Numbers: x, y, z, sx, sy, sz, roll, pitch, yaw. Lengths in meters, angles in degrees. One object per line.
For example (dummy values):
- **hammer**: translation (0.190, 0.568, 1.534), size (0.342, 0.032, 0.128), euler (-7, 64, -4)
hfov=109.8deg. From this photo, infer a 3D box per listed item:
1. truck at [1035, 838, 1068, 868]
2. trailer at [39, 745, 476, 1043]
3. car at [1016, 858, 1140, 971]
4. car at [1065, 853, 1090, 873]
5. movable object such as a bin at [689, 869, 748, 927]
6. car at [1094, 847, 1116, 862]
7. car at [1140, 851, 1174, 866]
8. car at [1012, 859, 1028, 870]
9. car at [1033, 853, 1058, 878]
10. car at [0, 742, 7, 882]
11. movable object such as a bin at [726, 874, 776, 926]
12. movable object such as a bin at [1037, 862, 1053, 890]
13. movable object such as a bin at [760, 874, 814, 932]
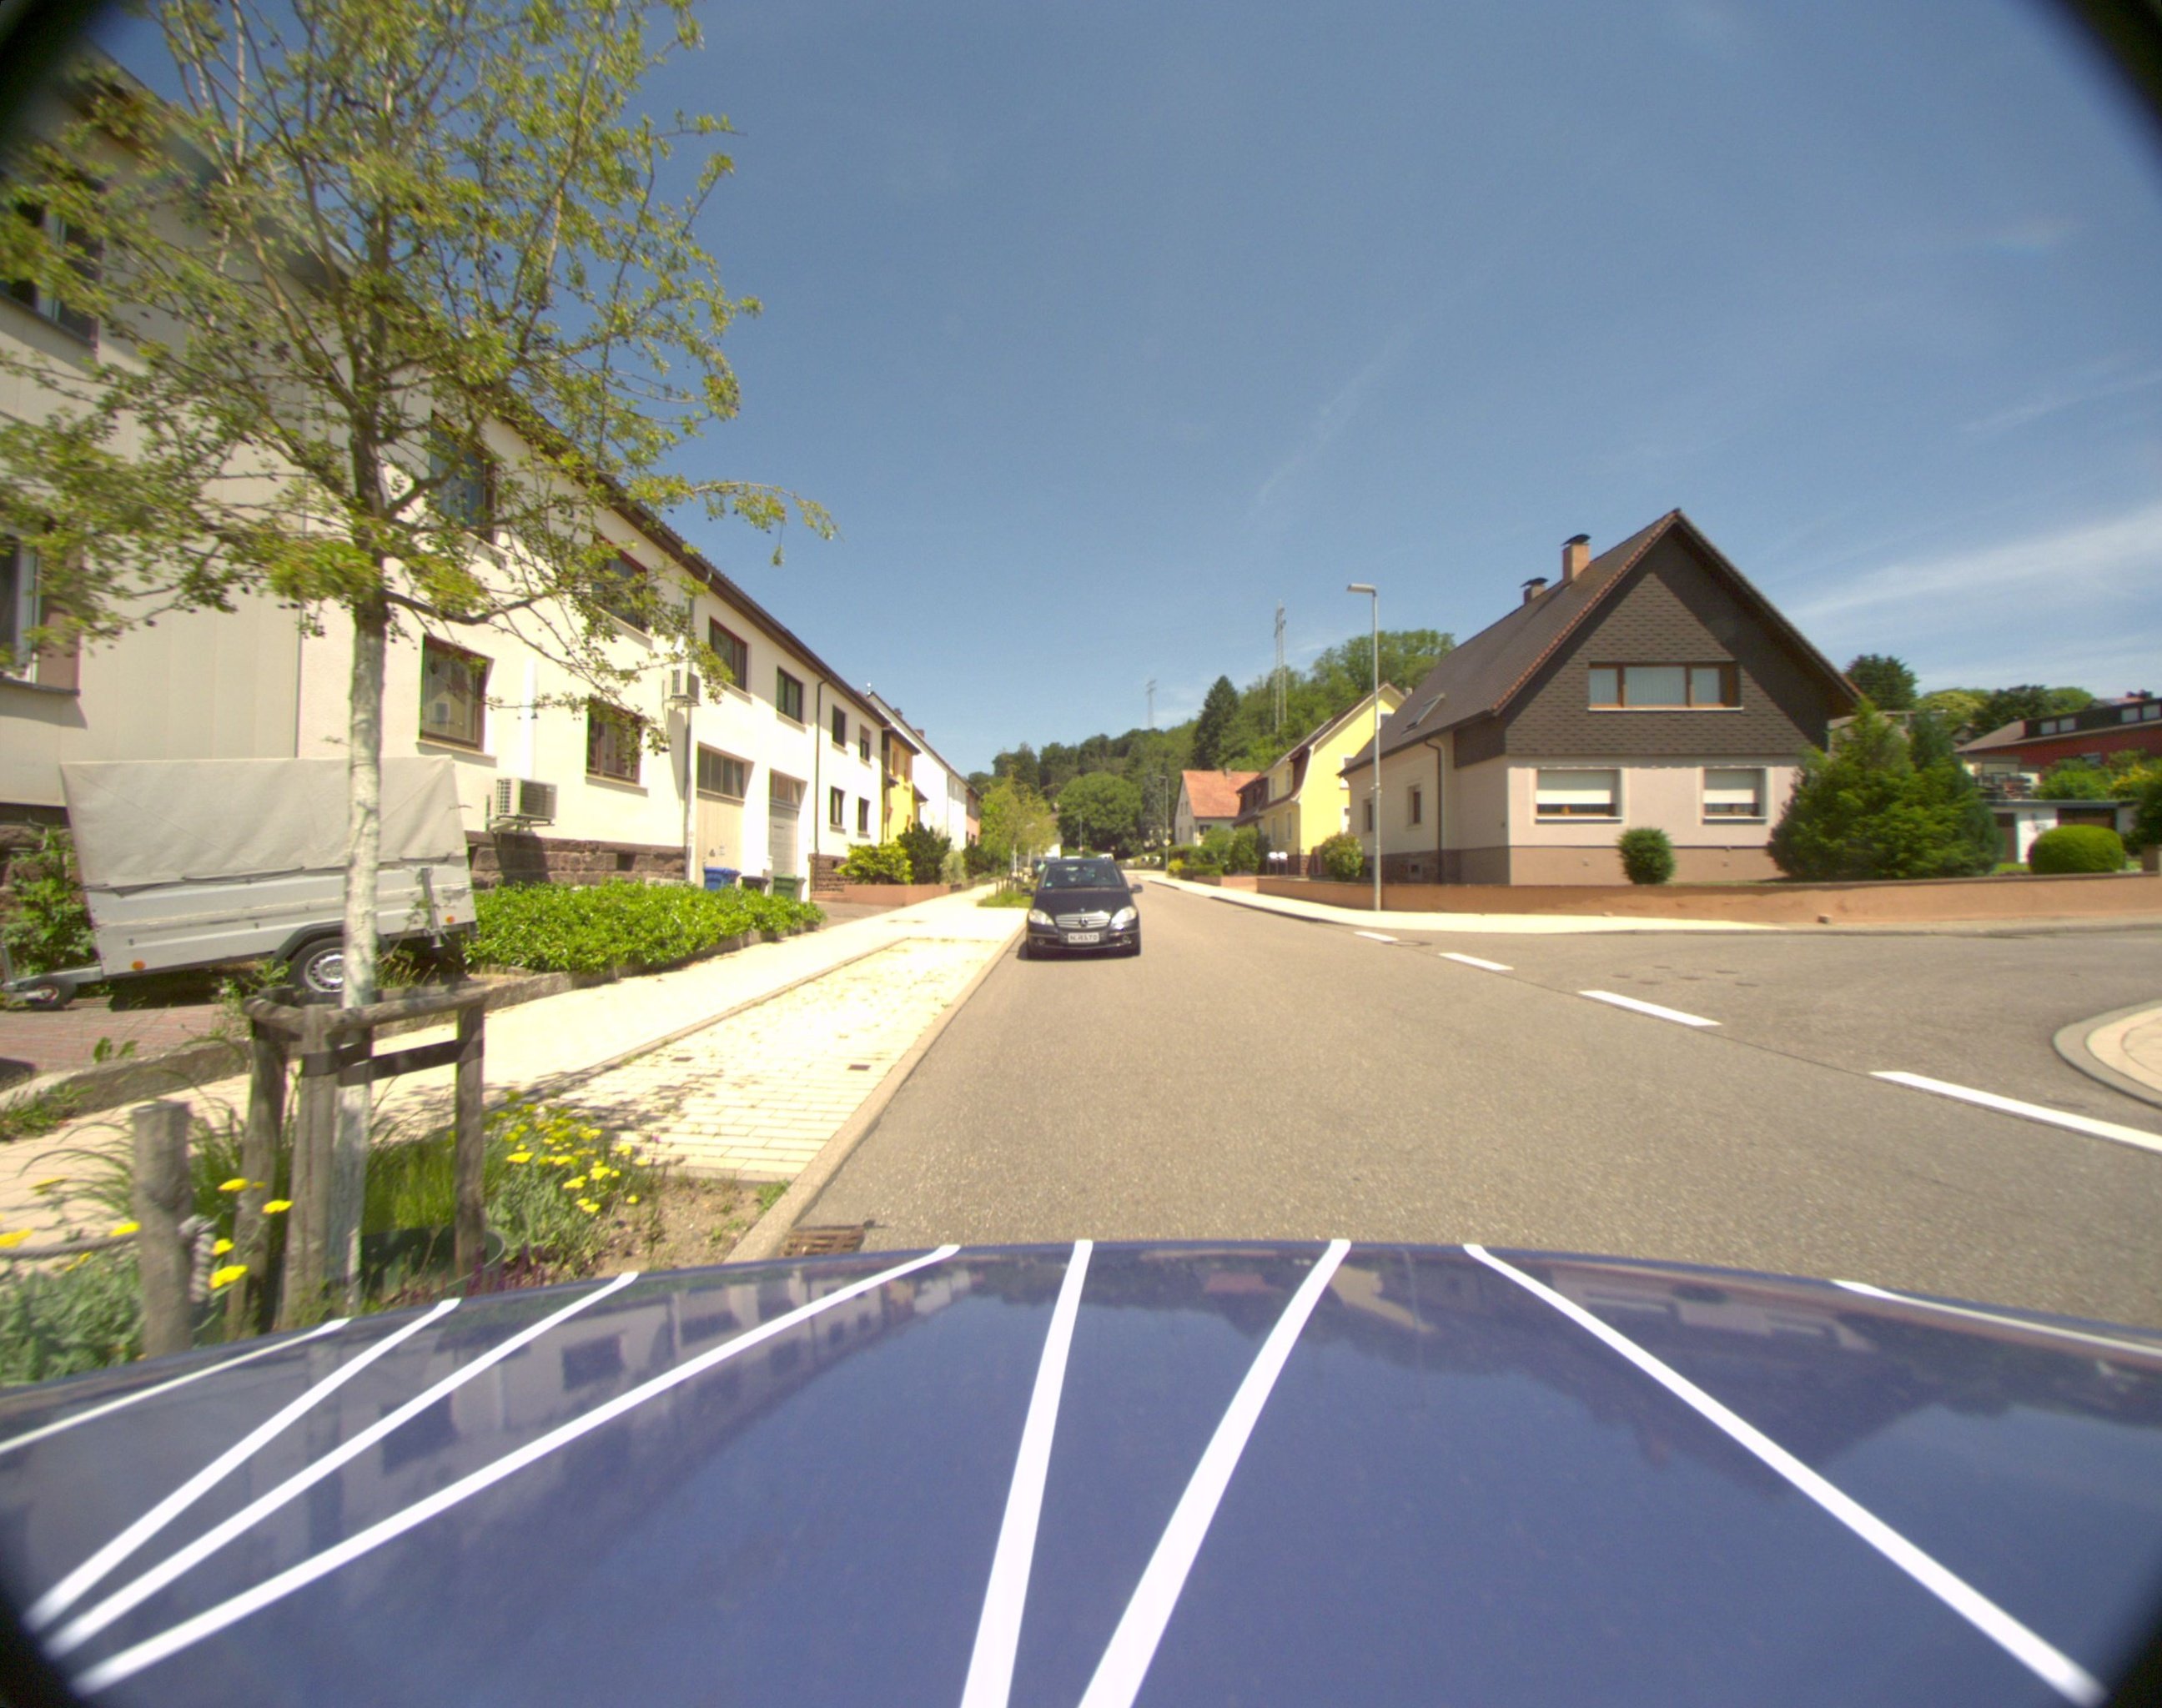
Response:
- **truck**: translation (-3.710, -0.093, 93.606), size (2.808, 3.394, 8.112), euler (-1, 0, -11)
- **trailer**: translation (-6.675, 0.269, 6.383), size (1.320, 2.002, 2.278), euler (-1, 0, 42)
- **car**: translation (0.015, 0.910, 13.286), size (1.790, 1.595, 4.076), euler (-2, 0, 2)
- **car**: translation (-0.347, 0.838, 73.313), size (1.969, 1.823, 4.462), euler (1, 0, -6)
- **movable object such as a bin**: translation (-7.431, 0.881, 15.605), size (0.686, 1.100, 0.863), euler (3, 1, 6)
- **car**: translation (3.245, 0.115, 102.274), size (1.706, 1.937, 3.993), euler (-1, 1, -18)
- **car**: translation (9.947, 0.588, 99.629), size (4.004, 1.779, 1.807), euler (-1, 0, -23)
- **car**: translation (-7.628, 1.305, 94.559), size (1.676, 1.368, 3.997), euler (1, 0, -8)
- **car**: translation (-2.842, 0.896, 60.785), size (1.860, 1.831, 4.669), euler (1, 0, -3)
- **car**: translation (-6.206, 0.372, 1.310), size (1.857, 1.959, 4.773), euler (4, 0, 0)
- **movable object such as a bin**: translation (-6.745, 0.928, 15.558), size (0.559, 0.980, 0.803), euler (4, 1, 7)
- **movable object such as a bin**: translation (-1.894, 1.143, 39.719), size (0.794, 1.387, 0.925), euler (-1, 0, -3)
- **movable object such as a bin**: translation (-6.056, 0.995, 15.685), size (0.685, 1.108, 0.812), euler (3, 1, 6)
